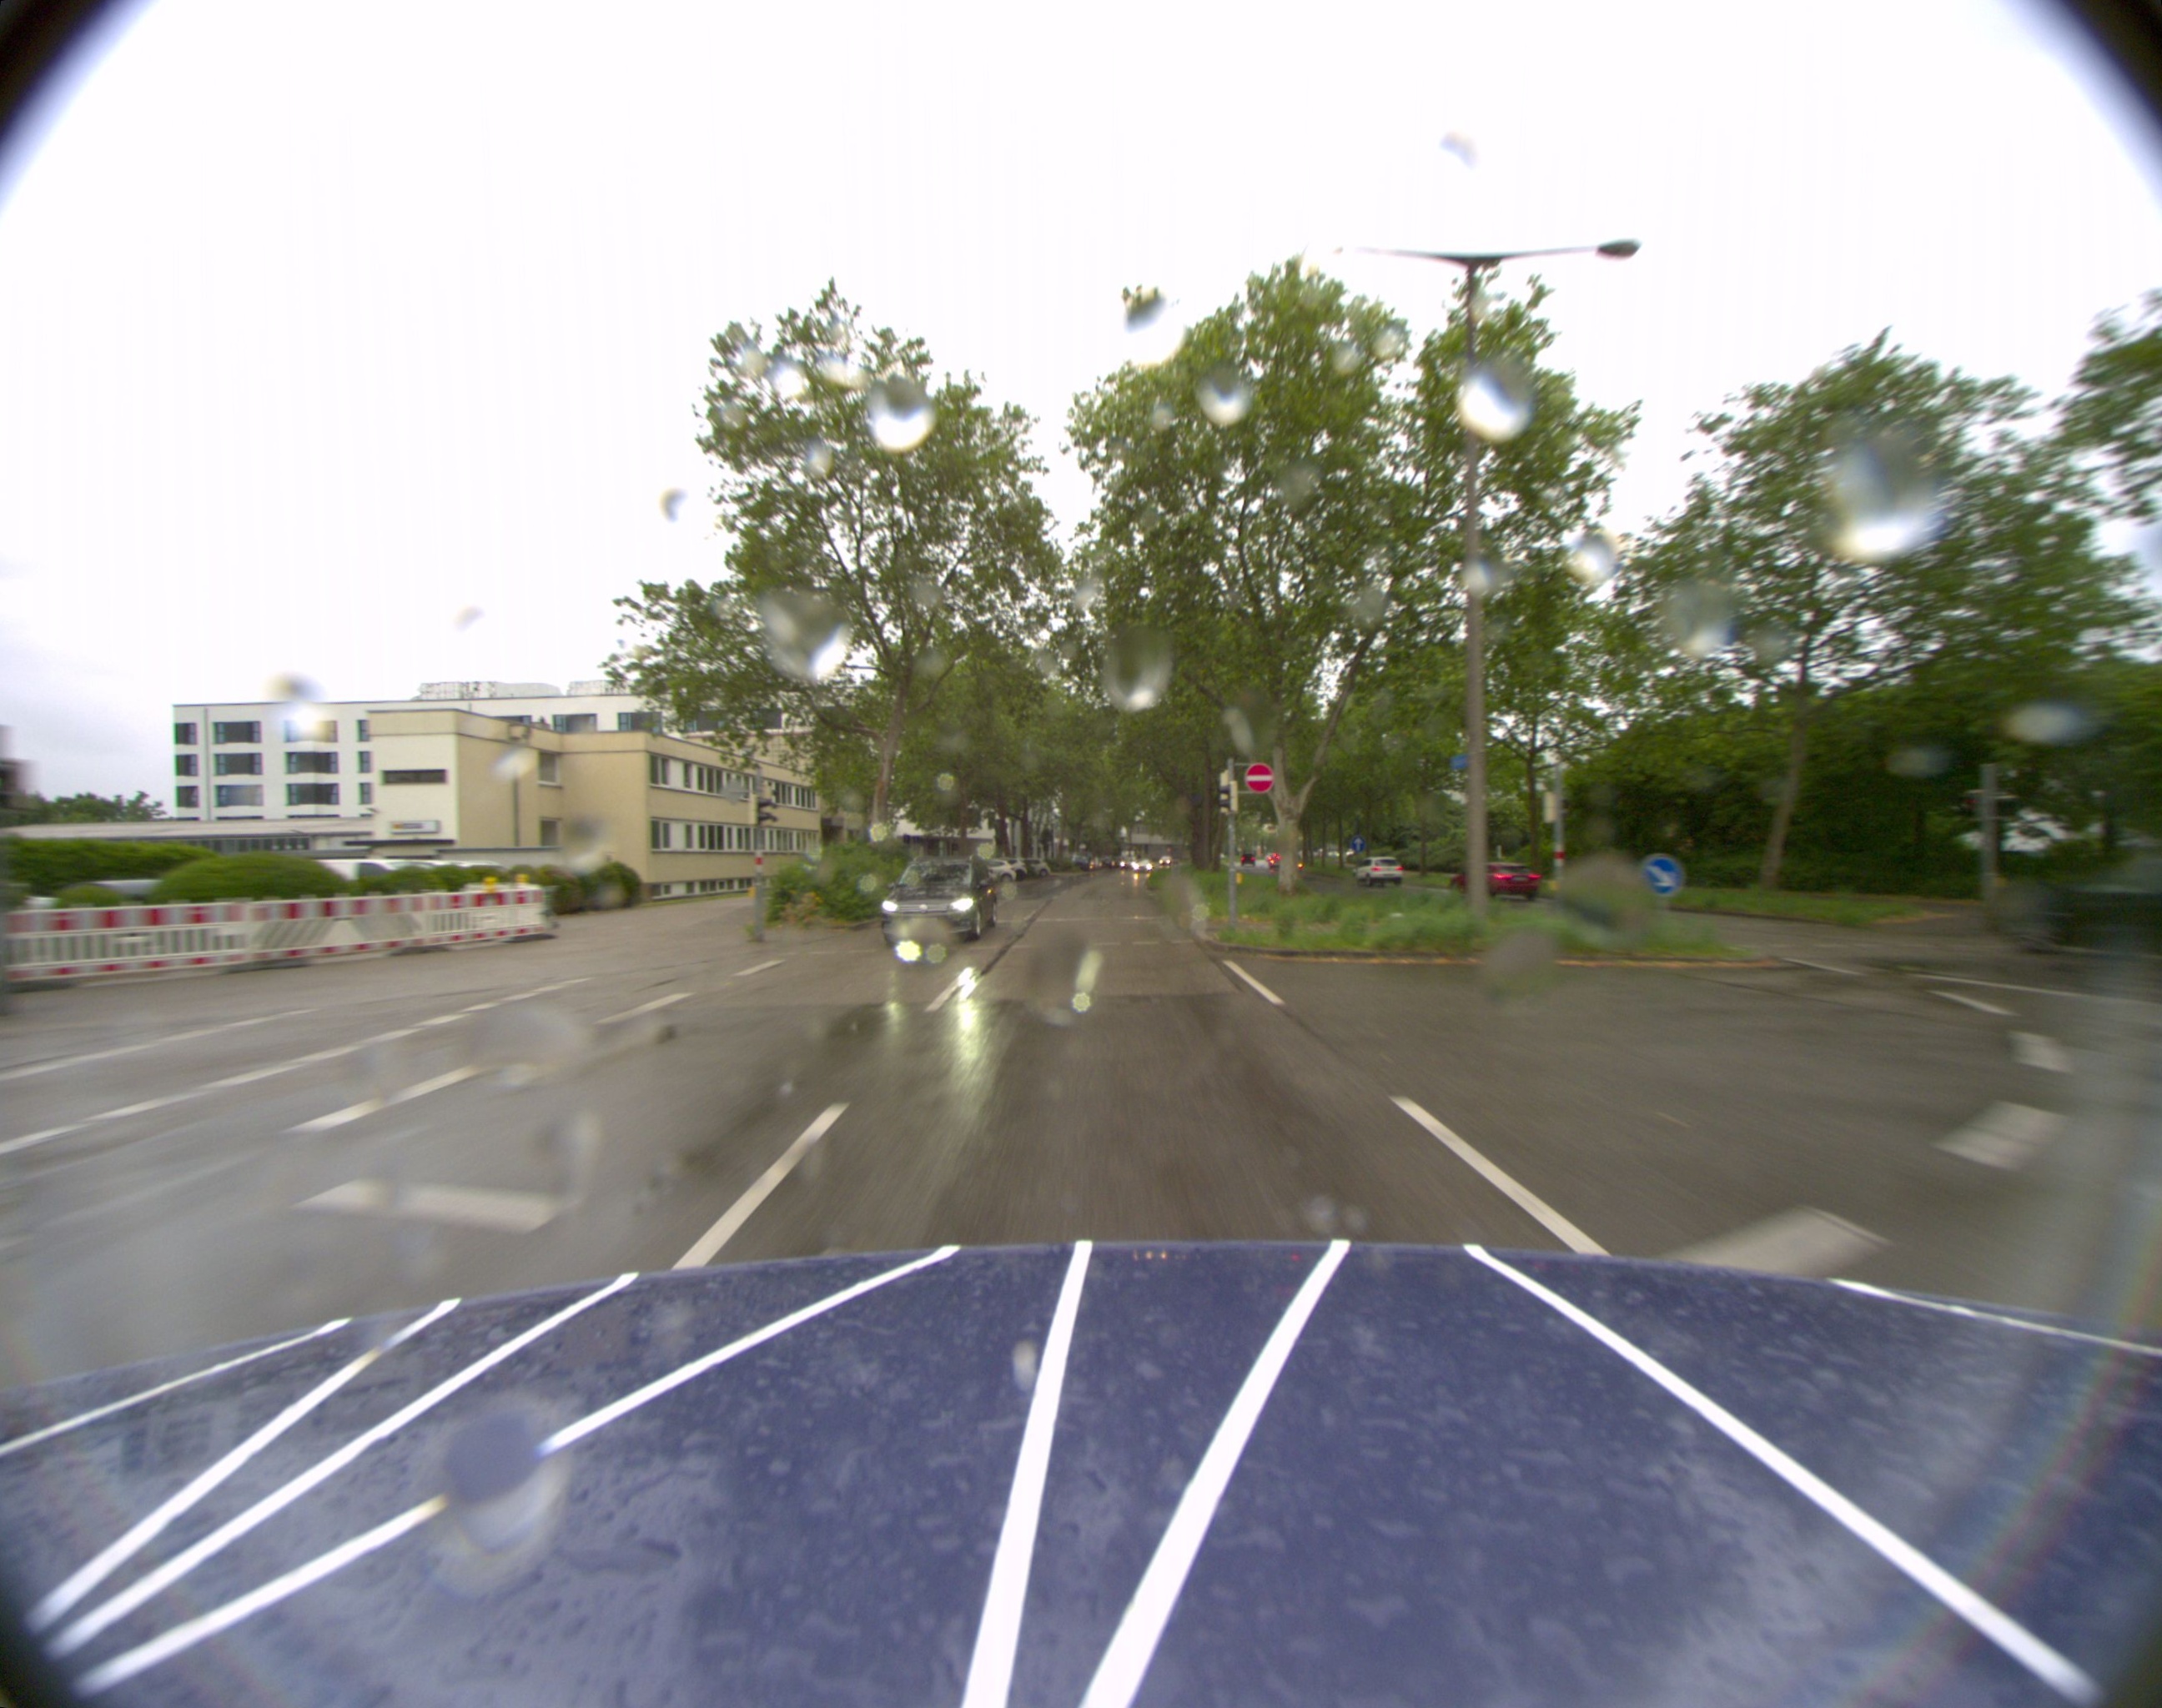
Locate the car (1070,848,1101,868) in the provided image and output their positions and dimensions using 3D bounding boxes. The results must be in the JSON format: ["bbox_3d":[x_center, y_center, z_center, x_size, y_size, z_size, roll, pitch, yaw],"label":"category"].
[{"bbox_3d":[0.508,0.396,79.952,2.124,2.016,5.532,-1,1,12],"label":"car"}]

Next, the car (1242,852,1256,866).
[{"bbox_3d":[24.748,0.715,111.930,1.745,1.831,5.126,0,1,15],"label":"car"}]

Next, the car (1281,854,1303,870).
[{"bbox_3d":[20.026,0.766,72.303,1.746,1.430,4.449,-1,-1,12],"label":"car"}]

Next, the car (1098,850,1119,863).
[{"bbox_3d":[3.382,0.275,92.443,1.746,1.557,4.375,-1,1,12],"label":"car"}]

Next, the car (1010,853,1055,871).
[{"bbox_3d":[-4.047,0.654,63.139,3.646,1.495,1.748,0,0,-7],"label":"car"}]

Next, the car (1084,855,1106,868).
[{"bbox_3d":[1.640,0.840,86.066,1.746,1.460,4.309,-1,1,12],"label":"car"}]

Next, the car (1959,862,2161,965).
[{"bbox_3d":[15.728,0.841,11.258,1.591,1.365,3.333,-1,1,0],"label":"car"}]

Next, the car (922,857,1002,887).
[{"bbox_3d":[-6.063,0.902,38.738,3.697,1.408,1.772,-1,1,-24],"label":"car"}]

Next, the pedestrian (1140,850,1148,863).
[{"bbox_3d":[9.441,0.360,114.085,0.900,2.002,0.832,-1,1,-22],"label":"pedestrian"}]

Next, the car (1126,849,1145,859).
[{"bbox_3d":[8.053,0.051,112.175,1.745,1.420,4.874,0,1,18],"label":"car"}]

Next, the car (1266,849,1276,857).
[{"bbox_3d":[38.356,-0.238,153.734,1.746,1.582,4.333,-1,1,11],"label":"car"}]

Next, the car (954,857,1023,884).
[{"bbox_3d":[-5.406,0.931,44.200,3.696,1.408,1.746,-1,1,-20],"label":"car"}]

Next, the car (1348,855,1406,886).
[{"bbox_3d":[17.012,0.911,43.847,1.747,1.622,4.444,-1,1,2],"label":"car"}]

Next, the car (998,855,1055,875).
[{"bbox_3d":[-4.201,0.831,58.650,4.043,1.420,1.745,-1,1,-23],"label":"car"}]

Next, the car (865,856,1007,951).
[{"bbox_3d":[-2.870,0.889,16.386,1.999,1.585,5.588,-1,1,-1],"label":"car"}]

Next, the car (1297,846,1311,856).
[{"bbox_3d":[51.080,-0.593,173.722,2.031,2.213,5.444,0,1,28],"label":"car"}]

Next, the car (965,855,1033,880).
[{"bbox_3d":[-5.363,0.857,49.488,4.043,1.530,1.745,-1,1,-25],"label":"car"}]

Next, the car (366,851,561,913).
[{"bbox_3d":[-18.688,0.812,23.111,4.548,1.747,1.749,-1,1,2],"label":"car"}]

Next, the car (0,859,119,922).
[{"bbox_3d":[-28.951,0.971,19.940,1.824,1.581,4.306,-1,1,2],"label":"car"}]

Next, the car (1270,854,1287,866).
[{"bbox_3d":[24.297,0.716,93.385,1.746,1.468,4.238,-1,1,11],"label":"car"}]

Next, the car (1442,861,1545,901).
[{"bbox_3d":[16.358,1.022,30.397,1.748,1.400,4.444,-1,1,0],"label":"car"}]

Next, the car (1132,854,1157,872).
[{"bbox_3d":[6.339,0.842,75.203,1.997,1.620,4.525,-1,1,10],"label":"car"}]

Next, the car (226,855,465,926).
[{"bbox_3d":[-19.374,0.930,20.165,4.549,1.747,1.780,-1,1,0],"label":"car"}]

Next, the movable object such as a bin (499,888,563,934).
[{"bbox_3d":[-12.690,1.304,17.551,1.072,0.964,0.713,0,2,24],"label":"movable object such as a bin"}]

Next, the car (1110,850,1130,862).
[{"bbox_3d":[5.088,0.276,99.579,1.745,1.468,4.087,-1,1,15],"label":"car"}]
